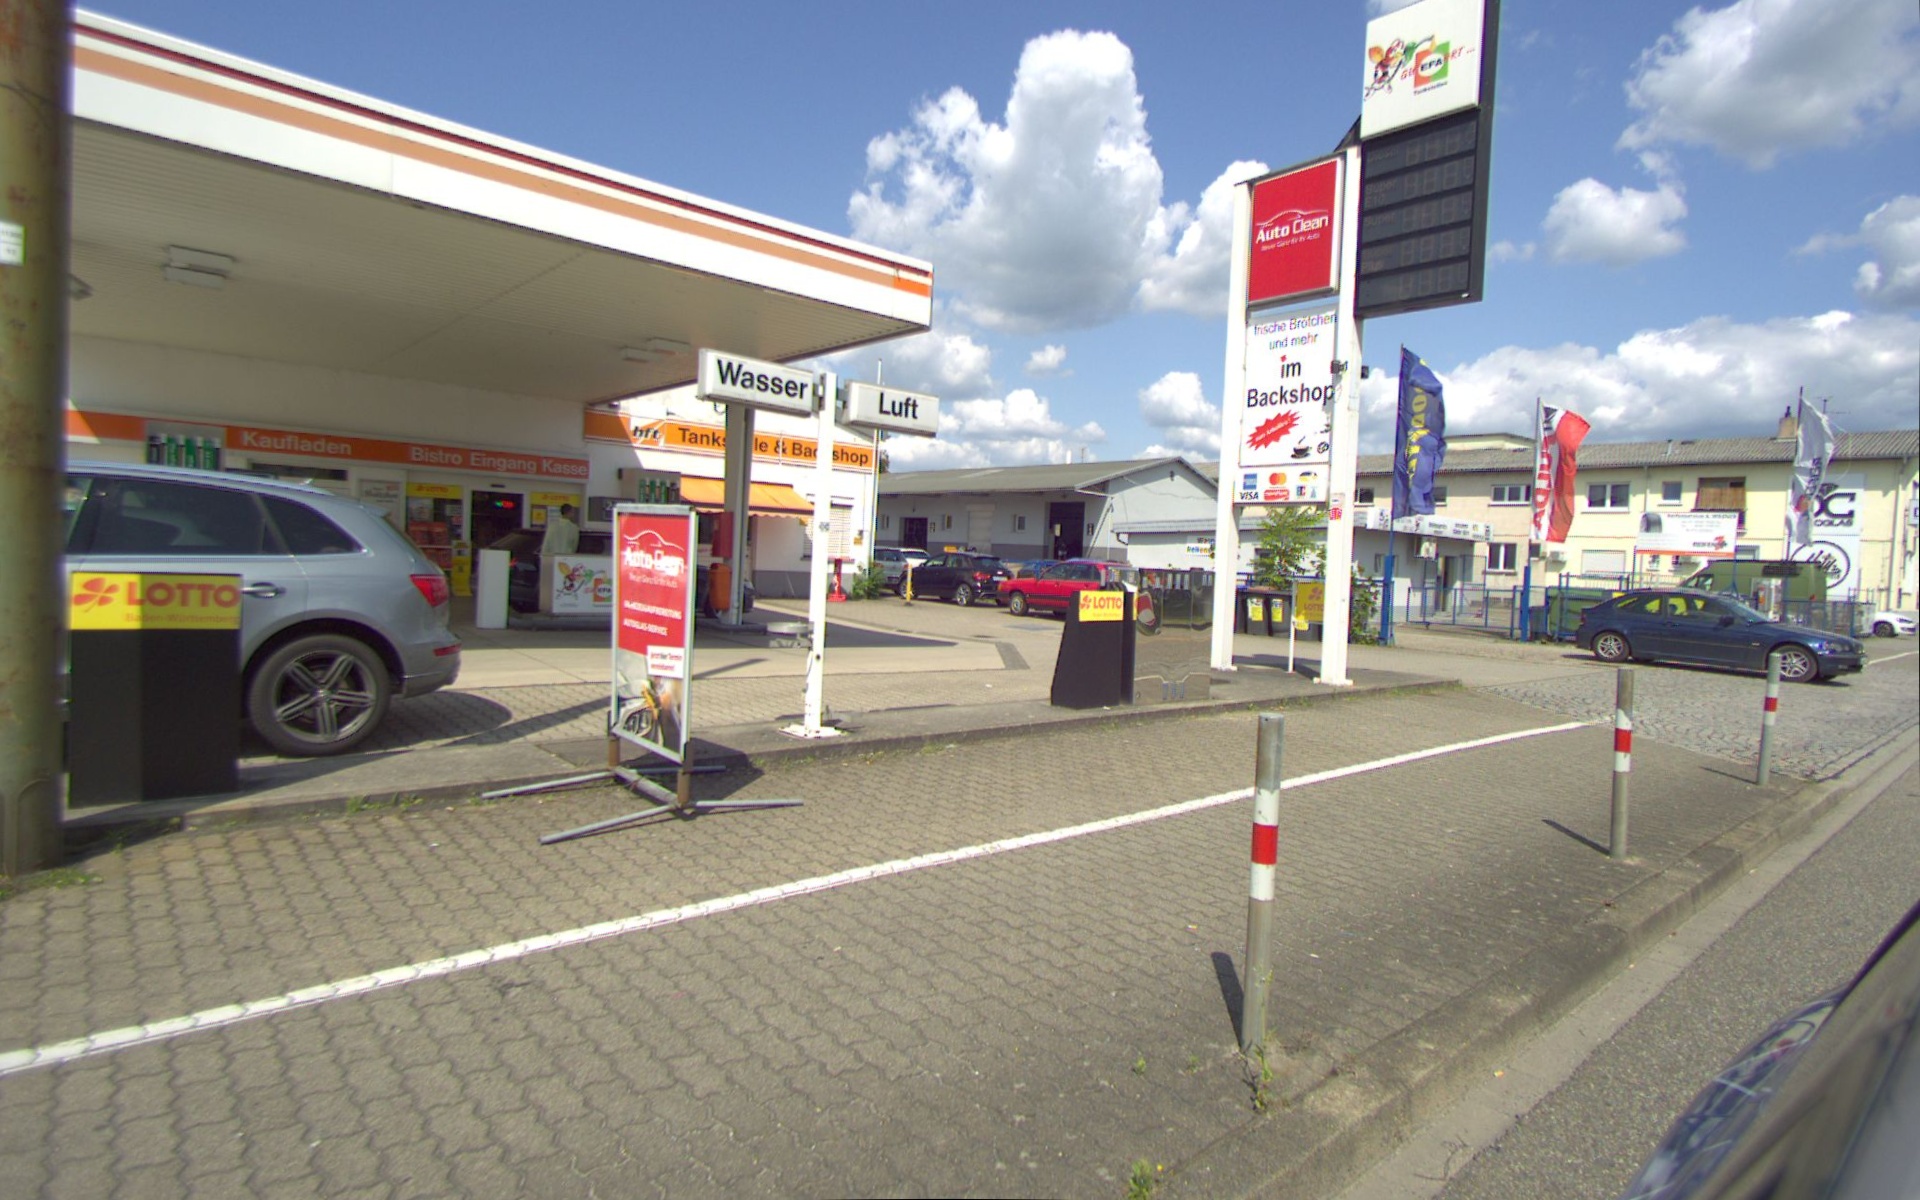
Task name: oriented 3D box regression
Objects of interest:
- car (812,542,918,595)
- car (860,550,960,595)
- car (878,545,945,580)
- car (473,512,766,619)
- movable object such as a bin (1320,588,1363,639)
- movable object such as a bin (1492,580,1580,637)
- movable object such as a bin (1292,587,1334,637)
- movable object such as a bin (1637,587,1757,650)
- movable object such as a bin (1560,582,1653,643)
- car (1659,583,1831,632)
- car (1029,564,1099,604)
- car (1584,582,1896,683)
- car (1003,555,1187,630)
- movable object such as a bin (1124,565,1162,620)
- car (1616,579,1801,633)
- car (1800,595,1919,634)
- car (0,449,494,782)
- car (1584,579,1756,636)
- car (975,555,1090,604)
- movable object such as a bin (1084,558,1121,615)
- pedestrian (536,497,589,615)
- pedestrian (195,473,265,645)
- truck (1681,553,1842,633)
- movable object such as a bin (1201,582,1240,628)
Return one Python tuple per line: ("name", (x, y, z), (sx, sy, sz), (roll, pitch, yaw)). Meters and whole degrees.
("car", (-2.972, -0.991, 31.250), (1.500, 1.441, 3.594), (0, 4, -39))
("car", (-1.740, -0.962, 34.402), (1.525, 1.330, 3.647), (0, 4, -39))
("car", (-2.663, -2.069, 56.236), (3.537, 1.763, 1.538), (1, 1, -43))
("car", (-5.729, -0.546, 17.382), (4.413, 1.538, 1.686), (2, 2, -41))
("movable object such as a bin", (7.894, 0.266, 20.930), (0.694, 1.023, 0.581), (0, 1, -42))
("movable object such as a bin", (15.051, 0.189, 26.450), (1.735, 1.427, 1.534), (-1, 2, -41))
("movable object such as a bin", (7.463, 0.250, 21.399), (0.694, 1.023, 0.581), (0, 1, -42))
("movable object such as a bin", (17.386, 0.400, 23.893), (1.679, 1.364, 1.966), (-1, 2, -41))
("movable object such as a bin", (16.153, 0.284, 25.268), (1.735, 1.427, 1.534), (-1, 2, -41))
("car", (26.622, 0.206, 34.448), (1.792, 1.526, 4.266), (0, 2, -33))
("car", (3.849, -0.621, 38.017), (1.605, 1.369, 3.680), (2, 1, -10))
("car", (13.682, 0.473, 18.009), (1.616, 1.425, 4.068), (0, 3, -34))
("car", (3.041, -0.235, 23.509), (1.740, 1.441, 4.146), (0, 4, -39))
("movable object such as a bin", (4.428, -0.192, 24.457), (0.694, 1.313, 0.581), (0, 1, -42))
("car", (23.084, 0.116, 31.416), (1.789, 1.524, 4.272), (0, 1, -24))
("car", (35.273, 0.519, 39.363), (1.490, 1.374, 3.728), (0, 2, -37))
("car", (-5.353, 0.021, 5.744), (4.537, 1.644, 1.949), (0, 3, -43))
("car", (21.100, 0.175, 30.268), (1.592, 1.480, 3.918), (0, 2, -24))
("car", (2.075, -0.627, 29.689), (1.461, 1.240, 3.311), (0, 4, -39))
("movable object such as a bin", (3.624, -0.343, 25.710), (0.694, 1.408, 0.581), (1, 3, -43))
("pedestrian", (-6.077, -0.659, 15.470), (0.607, 1.744, 0.687), (0, 1, -36))
("pedestrian", (-7.896, -0.437, 10.947), (0.568, 1.798, 0.497), (0, 1, -43))
("truck", (28.634, -0.300, 36.247), (2.071, 2.693, 4.181), (0, 1, -39))
("movable object such as a bin", (5.964, 0.105, 23.150), (0.694, 1.023, 0.581), (0, 1, -42))
